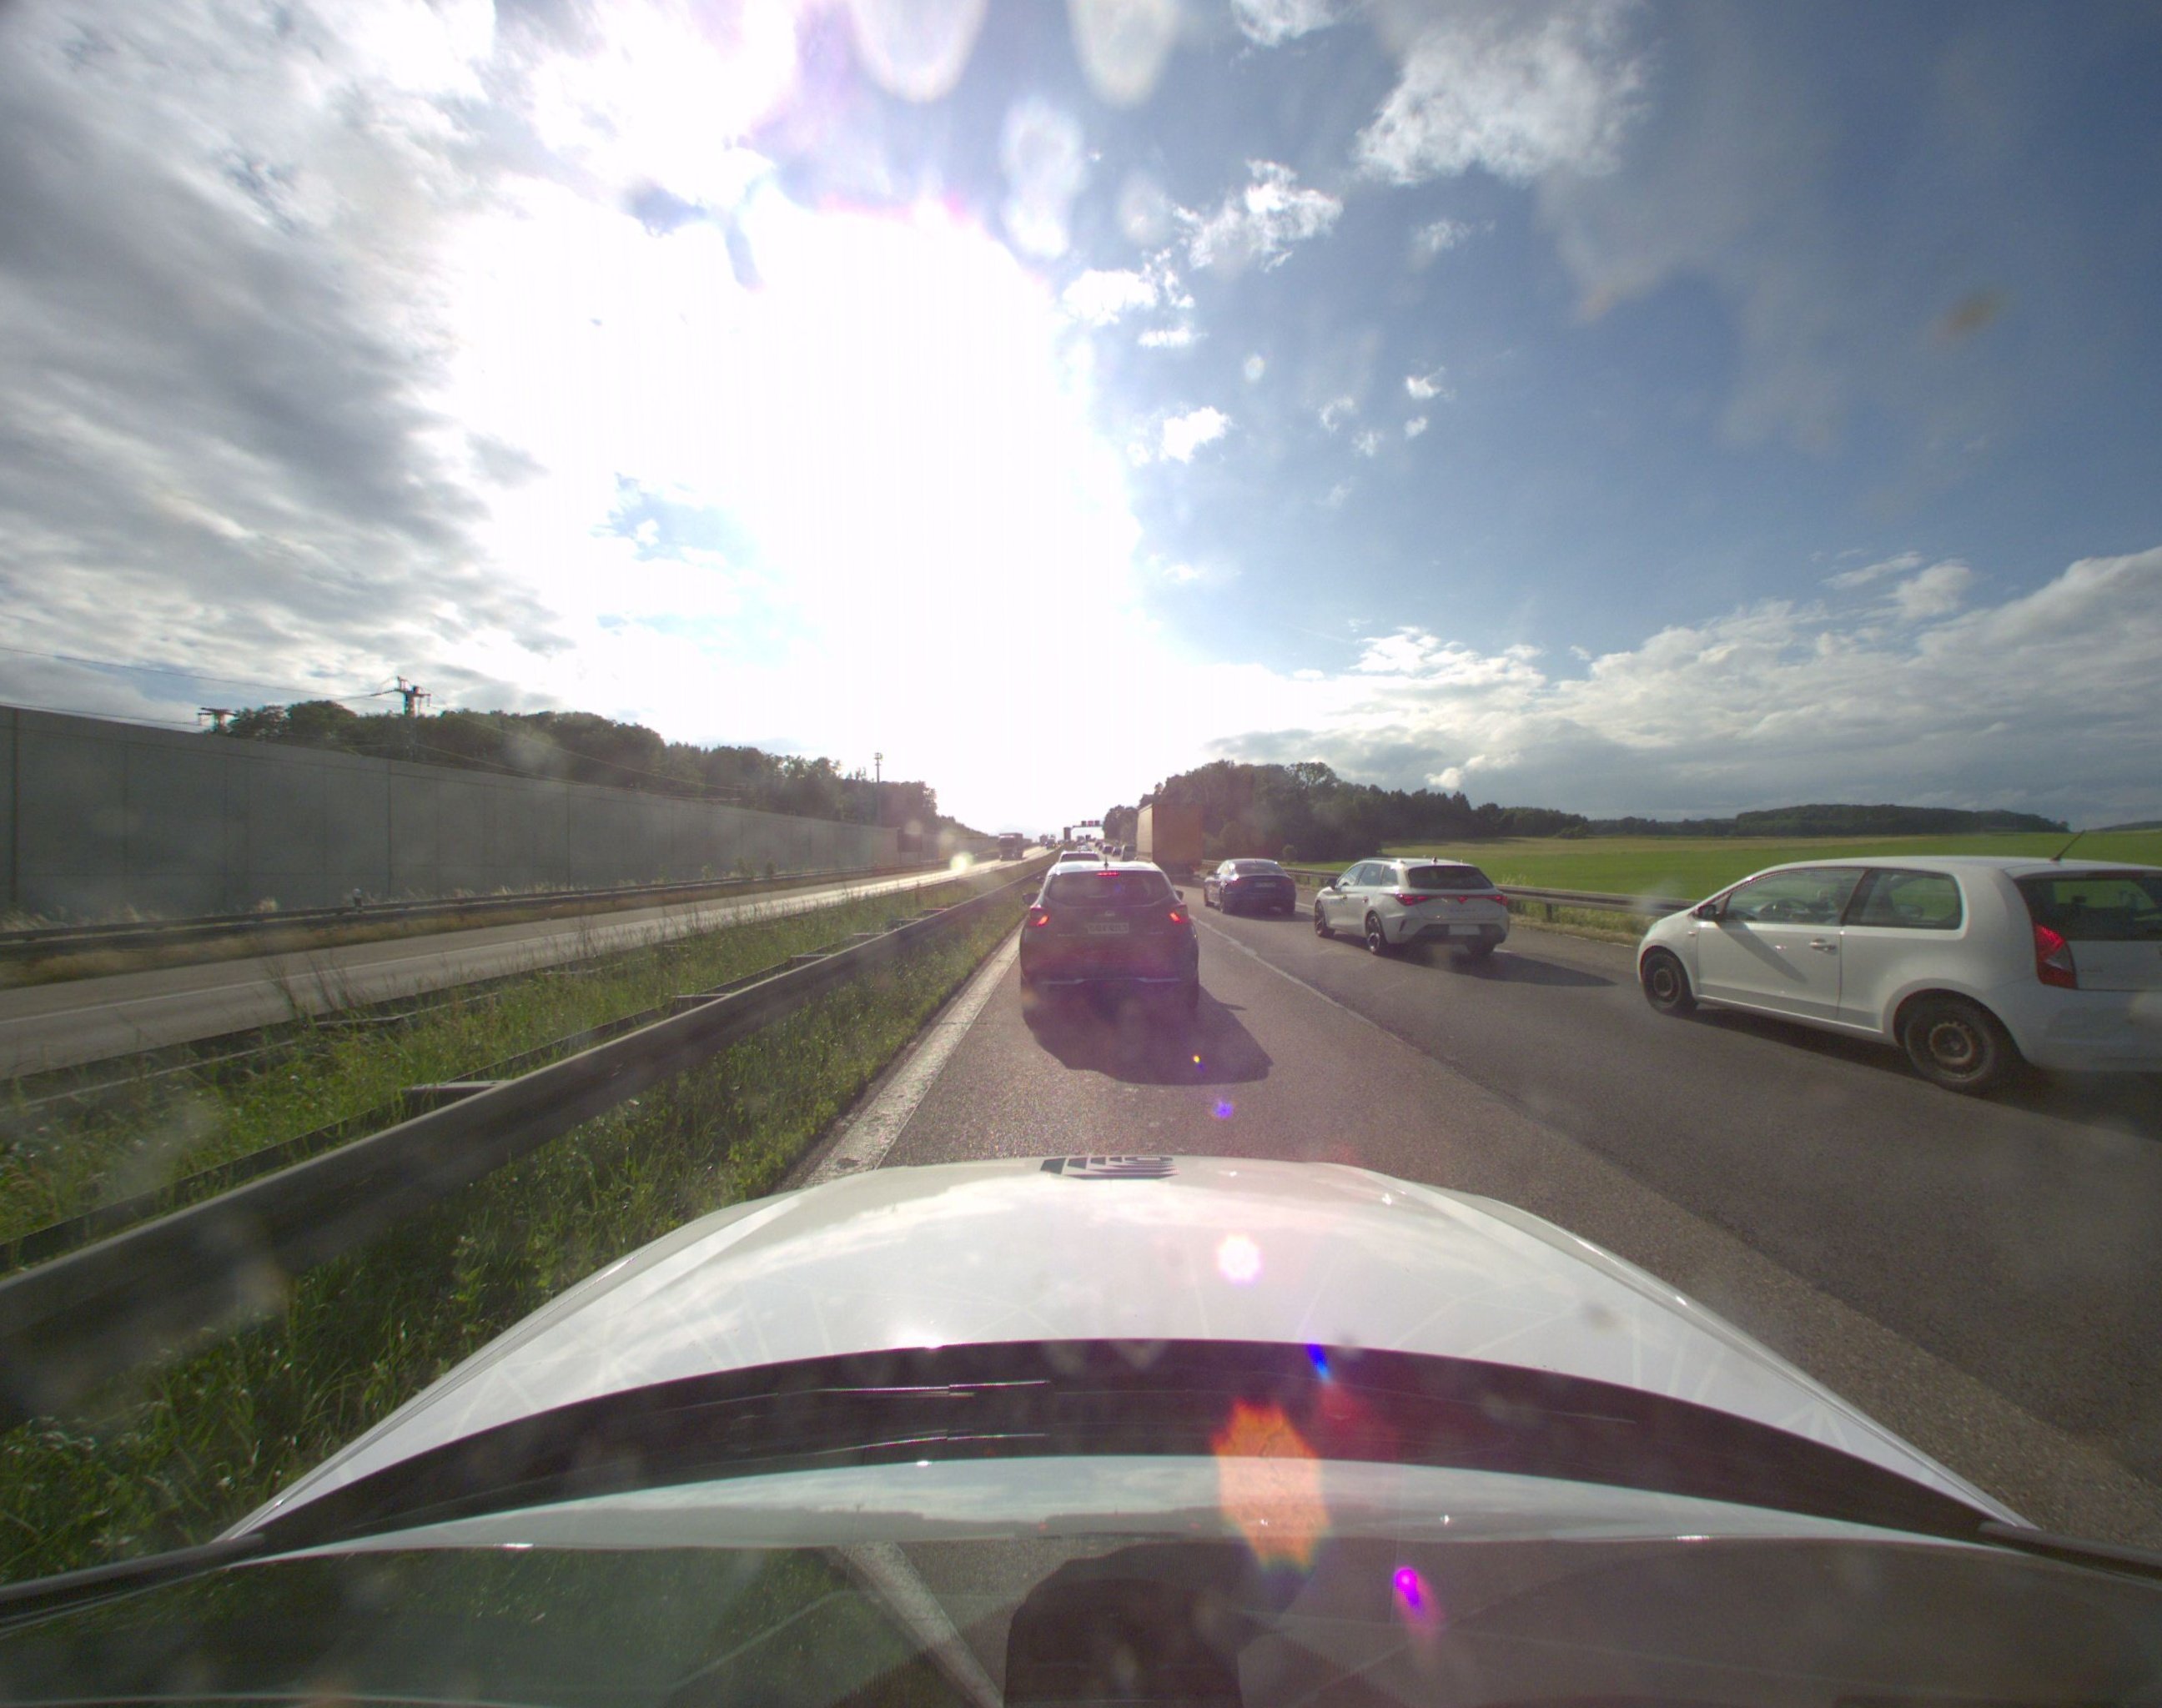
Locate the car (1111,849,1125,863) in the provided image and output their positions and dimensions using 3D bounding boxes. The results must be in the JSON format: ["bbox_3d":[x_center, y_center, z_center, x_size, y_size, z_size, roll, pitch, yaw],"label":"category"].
[{"bbox_3d":[5.768,0.317,127.077,1.987,2.014,3.998,0,-1,-1],"label":"car"}]

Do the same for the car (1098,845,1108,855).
[{"bbox_3d":[4.605,-0.826,169.143,1.987,2.014,3.998,0,-1,-1],"label":"car"}]

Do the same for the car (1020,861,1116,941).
[{"bbox_3d":[-0.186,0.824,15.911,1.668,1.367,3.597,-1,-1,1],"label":"car"}]

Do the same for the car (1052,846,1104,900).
[{"bbox_3d":[-0.055,0.641,28.092,1.668,1.726,3.597,-1,-1,1],"label":"car"}]

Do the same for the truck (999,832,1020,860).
[{"bbox_3d":[-10.816,-1.175,123.387,2.629,4.098,7.000,0,-1,0],"label":"truck"}]

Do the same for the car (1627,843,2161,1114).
[{"bbox_3d":[6.106,0.676,6.234,1.544,1.495,3.376,-1,0,-1],"label":"car"}]

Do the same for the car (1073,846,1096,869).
[{"bbox_3d":[0.302,0.322,75.051,1.987,2.014,3.998,0,-1,-1],"label":"car"}]

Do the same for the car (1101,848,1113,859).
[{"bbox_3d":[4.537,-0.094,144.830,1.987,2.014,3.998,0,-1,-1],"label":"car"}]

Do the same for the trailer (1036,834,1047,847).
[{"bbox_3d":[-12.301,-4.139,254.187,2.531,3.771,12.542,-3,-1,1],"label":"trailer"}]

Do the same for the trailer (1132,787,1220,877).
[{"bbox_3d":[5.174,-1.051,47.140,3.538,4.457,12.718,0,0,0],"label":"trailer"}]

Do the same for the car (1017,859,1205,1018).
[{"bbox_3d":[0.324,0.785,9.109,1.703,1.426,3.379,-1,-1,2],"label":"car"}]

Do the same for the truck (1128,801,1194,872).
[{"bbox_3d":[5.146,-1.056,53.568,3.571,4.380,6.686,0,-1,-1],"label":"truck"}]

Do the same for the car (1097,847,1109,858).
[{"bbox_3d":[4.081,-0.218,152.503,1.987,2.014,3.998,0,-1,-1],"label":"car"}]

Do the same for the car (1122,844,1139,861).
[{"bbox_3d":[5.199,-0.101,85.598,1.661,1.755,3.328,0,-1,2],"label":"car"}]

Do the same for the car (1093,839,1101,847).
[{"bbox_3d":[3.993,-2.764,202.896,1.987,2.014,3.998,0,-1,-1],"label":"car"}]

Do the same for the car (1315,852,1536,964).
[{"bbox_3d":[5.069,0.718,12.646,1.616,1.445,4.144,-1,-1,-1],"label":"car"}]

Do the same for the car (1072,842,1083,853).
[{"bbox_3d":[-0.627,-1.161,156.277,1.987,2.014,3.998,0,-1,-1],"label":"car"}]

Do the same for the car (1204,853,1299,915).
[{"bbox_3d":[4.400,0.734,21.600,1.741,1.475,4.147,-1,-1,1],"label":"car"}]
